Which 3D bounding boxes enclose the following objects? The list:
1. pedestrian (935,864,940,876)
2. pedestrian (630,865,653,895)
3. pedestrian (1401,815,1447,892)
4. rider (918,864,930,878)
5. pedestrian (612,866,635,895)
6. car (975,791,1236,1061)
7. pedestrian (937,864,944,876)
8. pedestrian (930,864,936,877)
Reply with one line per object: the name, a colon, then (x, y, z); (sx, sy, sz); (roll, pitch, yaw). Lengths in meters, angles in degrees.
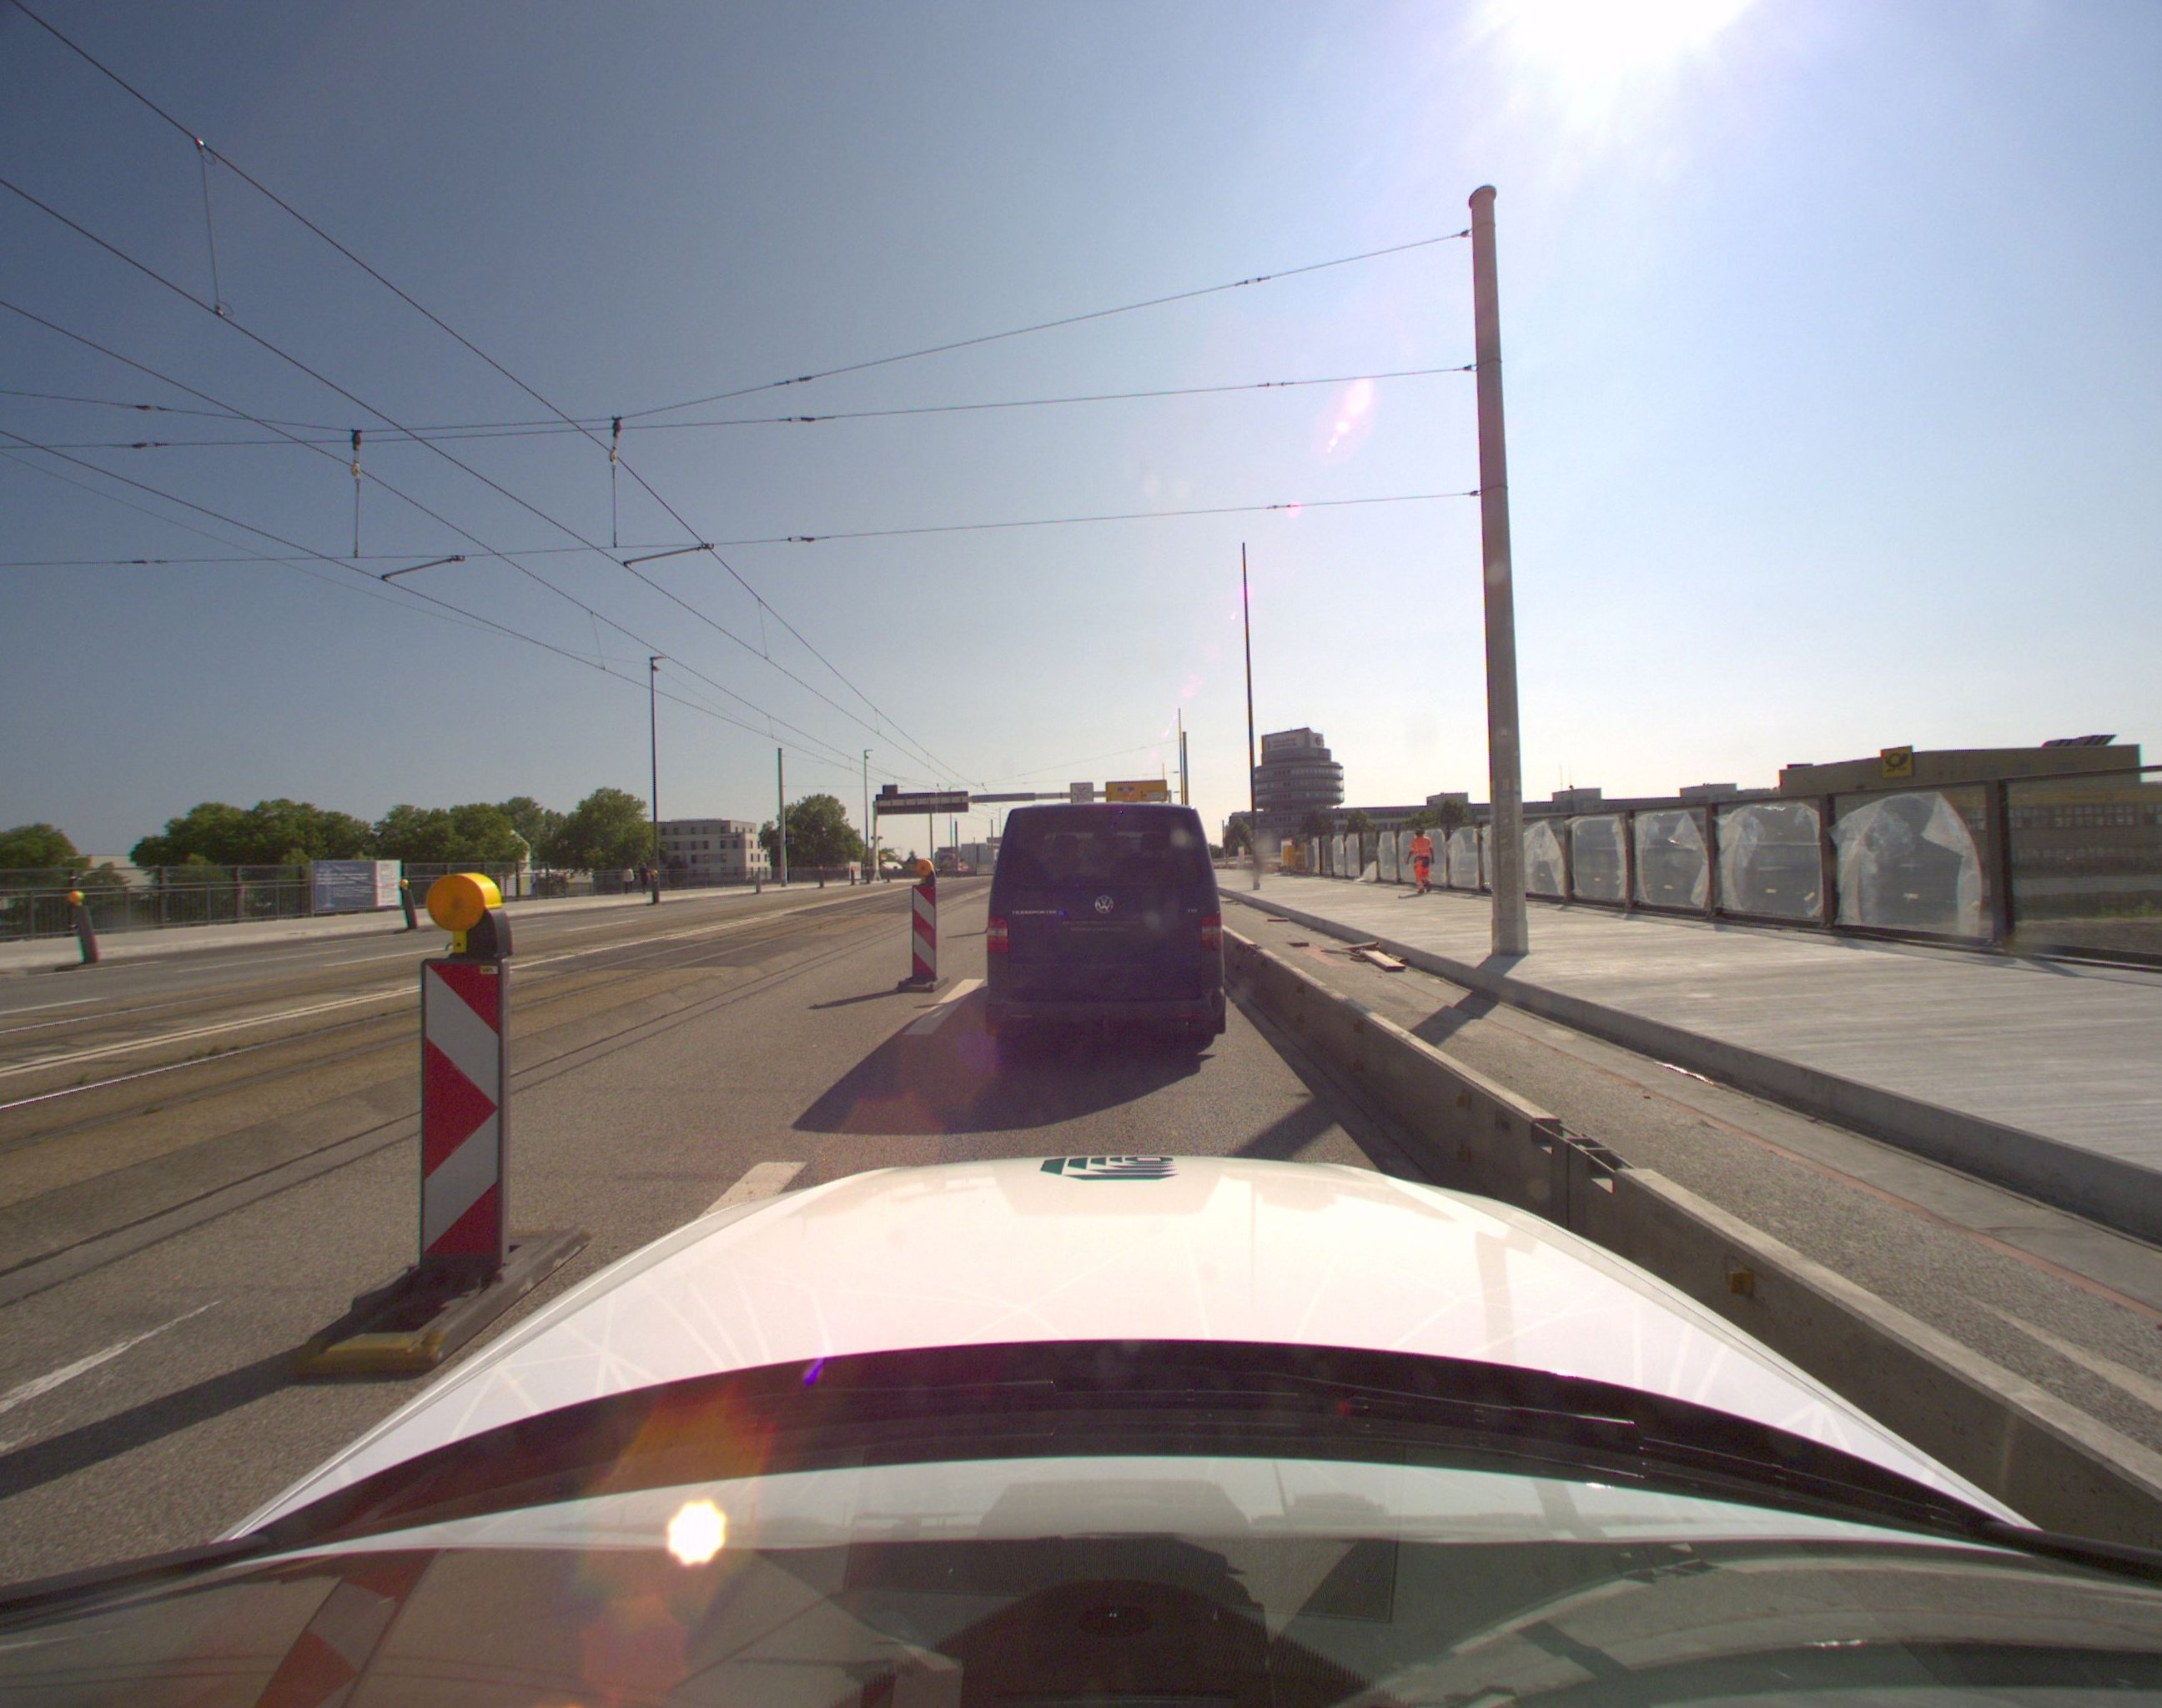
pedestrian: (-19.884, 2.218, 112.772); (0.483, 1.687, 0.809); (-2, -1, 5)
pedestrian: (-24.308, 1.433, 45.027); (0.741, 1.642, 0.895); (1, -1, 2)
pedestrian: (9.105, -0.006, 21.672); (0.728, 1.965, 1.017); (-3, -1, 2)
rider: (-19.250, 2.077, 99.967); (0.760, 1.733, 2.952); (-1, -1, 1)
pedestrian: (-25.333, 1.462, 45.066); (0.717, 1.544, 0.889); (1, -1, 2)
car: (0.237, 0.540, 7.867); (1.881, 1.934, 4.001); (0, -1, 2)
pedestrian: (-19.930, 2.290, 115.540); (0.749, 1.687, 0.733); (-2, -1, 5)
pedestrian: (-20.482, 2.304, 112.522); (0.594, 1.687, 0.819); (-2, -1, 5)
